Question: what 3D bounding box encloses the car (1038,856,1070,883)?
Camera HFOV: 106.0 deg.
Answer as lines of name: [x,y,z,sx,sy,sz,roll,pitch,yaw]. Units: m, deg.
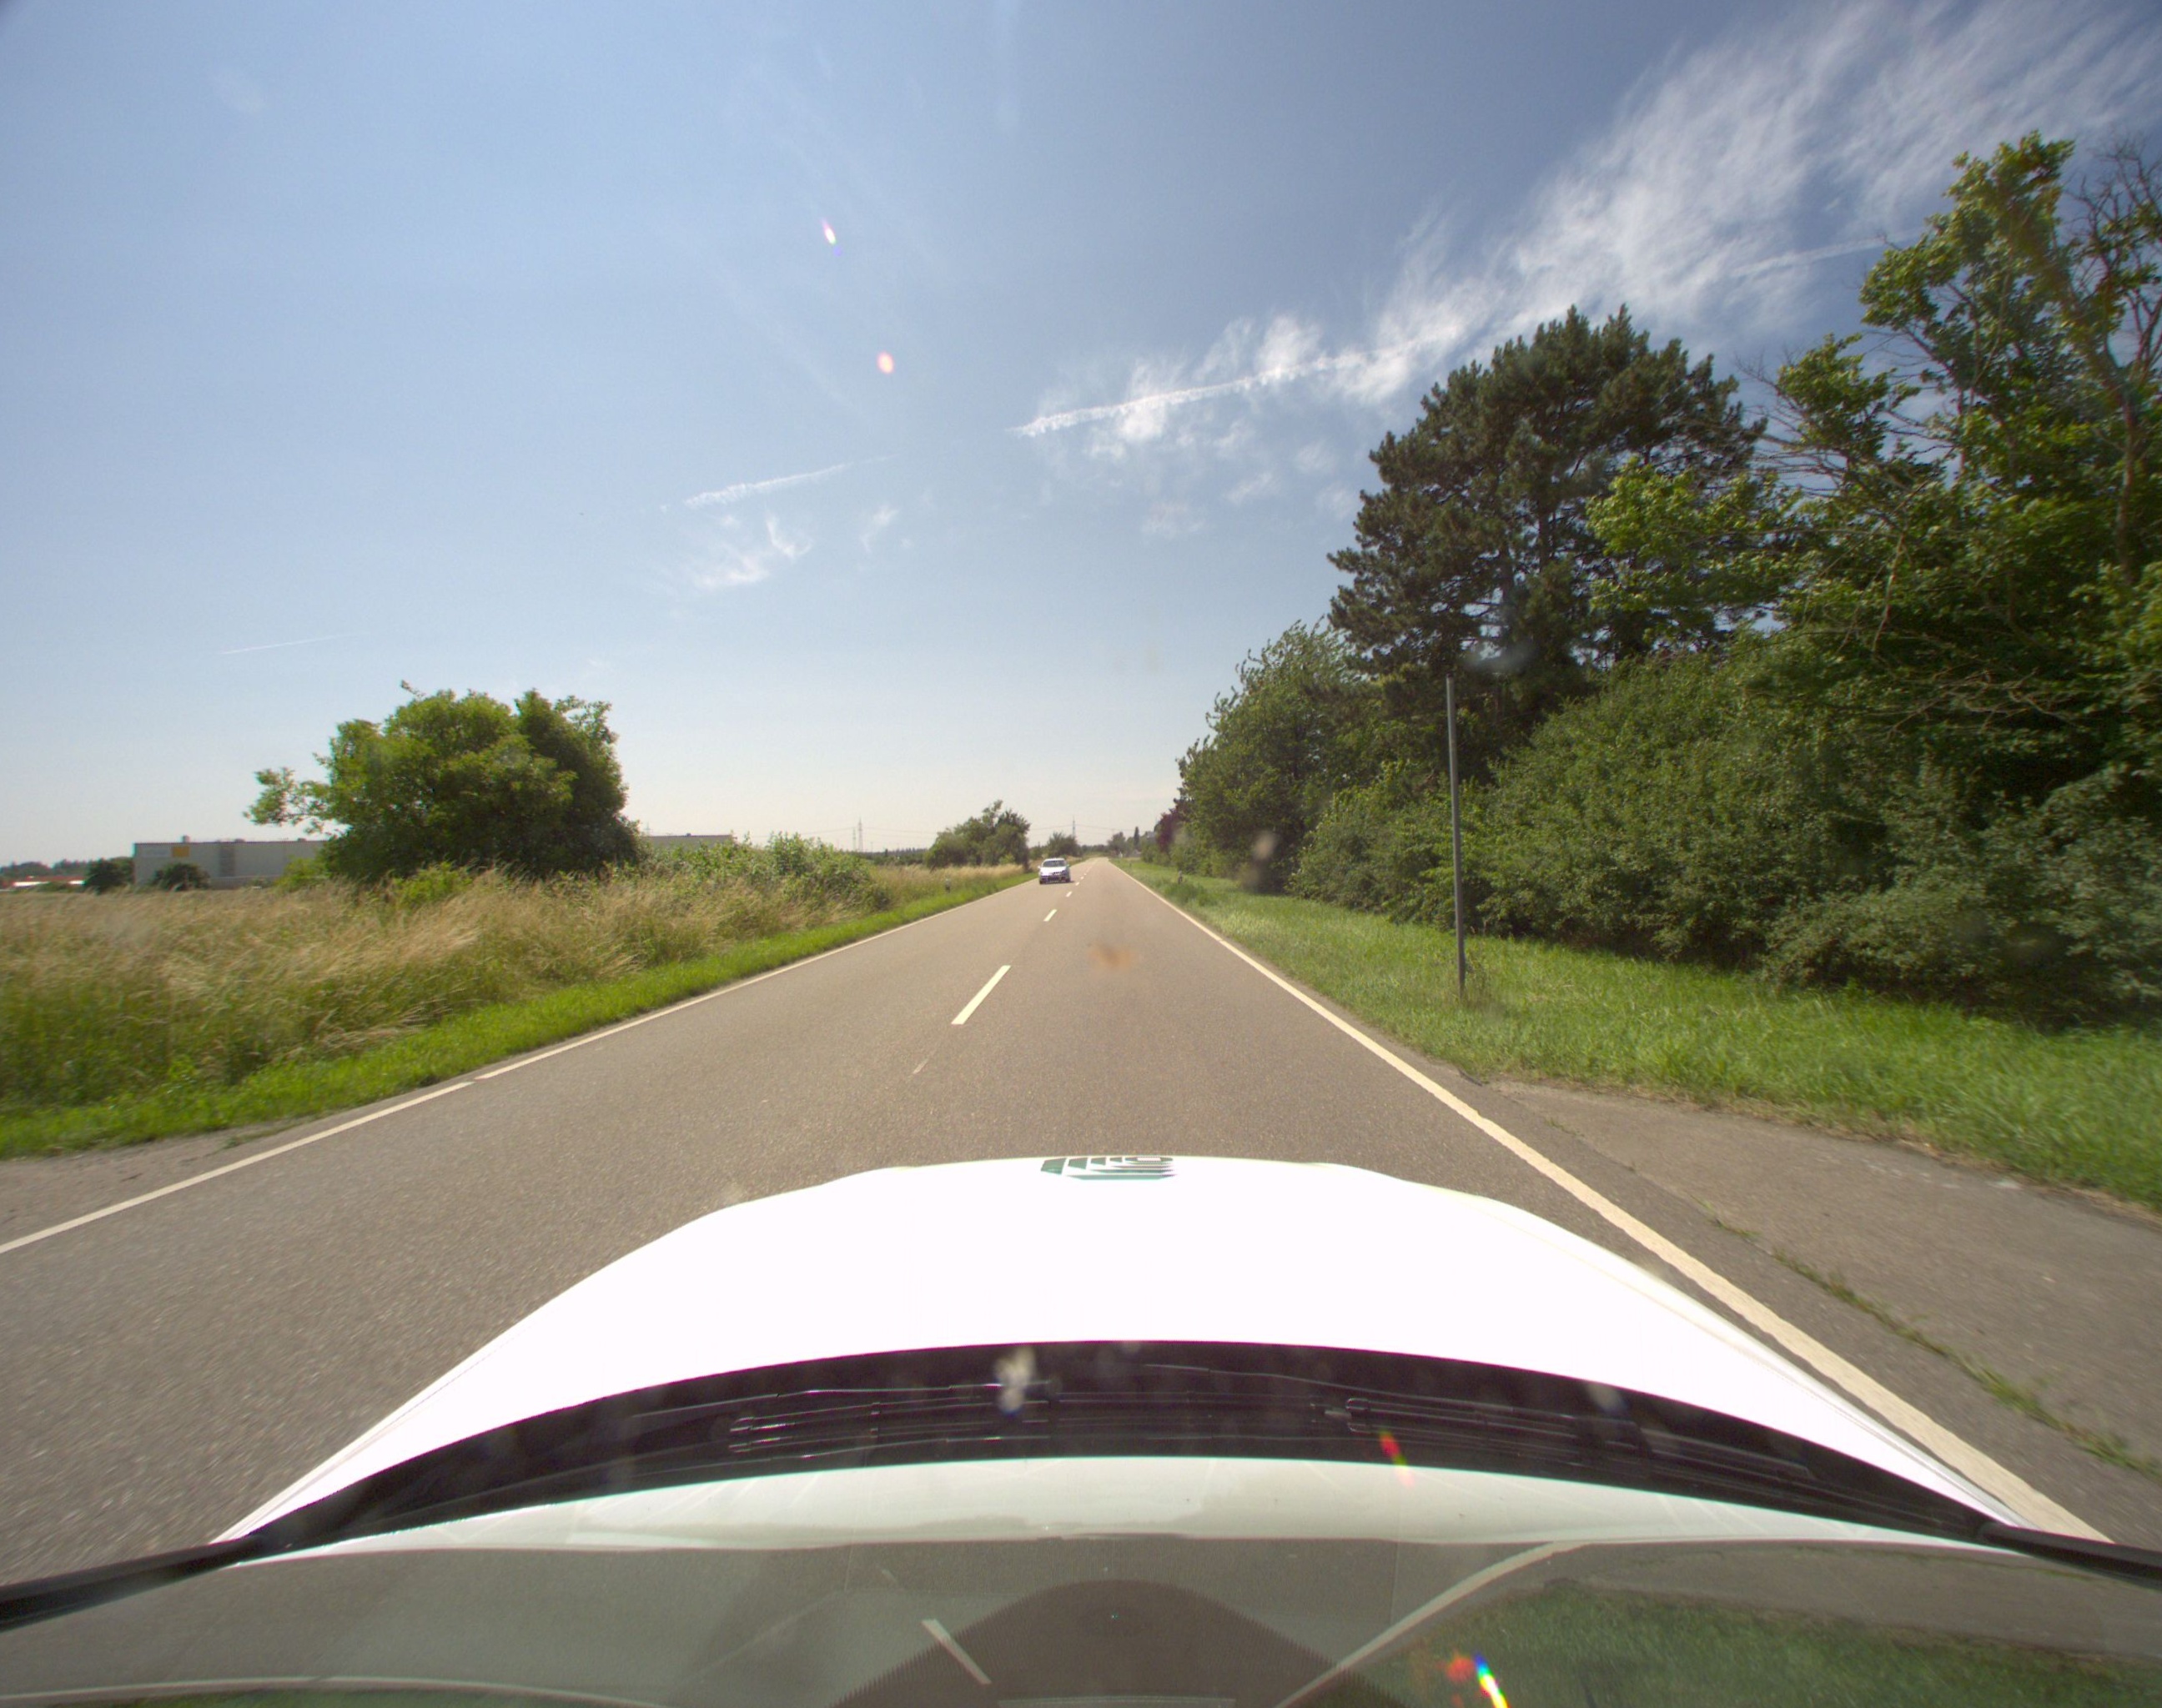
car: [-1.565,0.891,48.917,1.673,1.421,4.422,-4,0,0]
